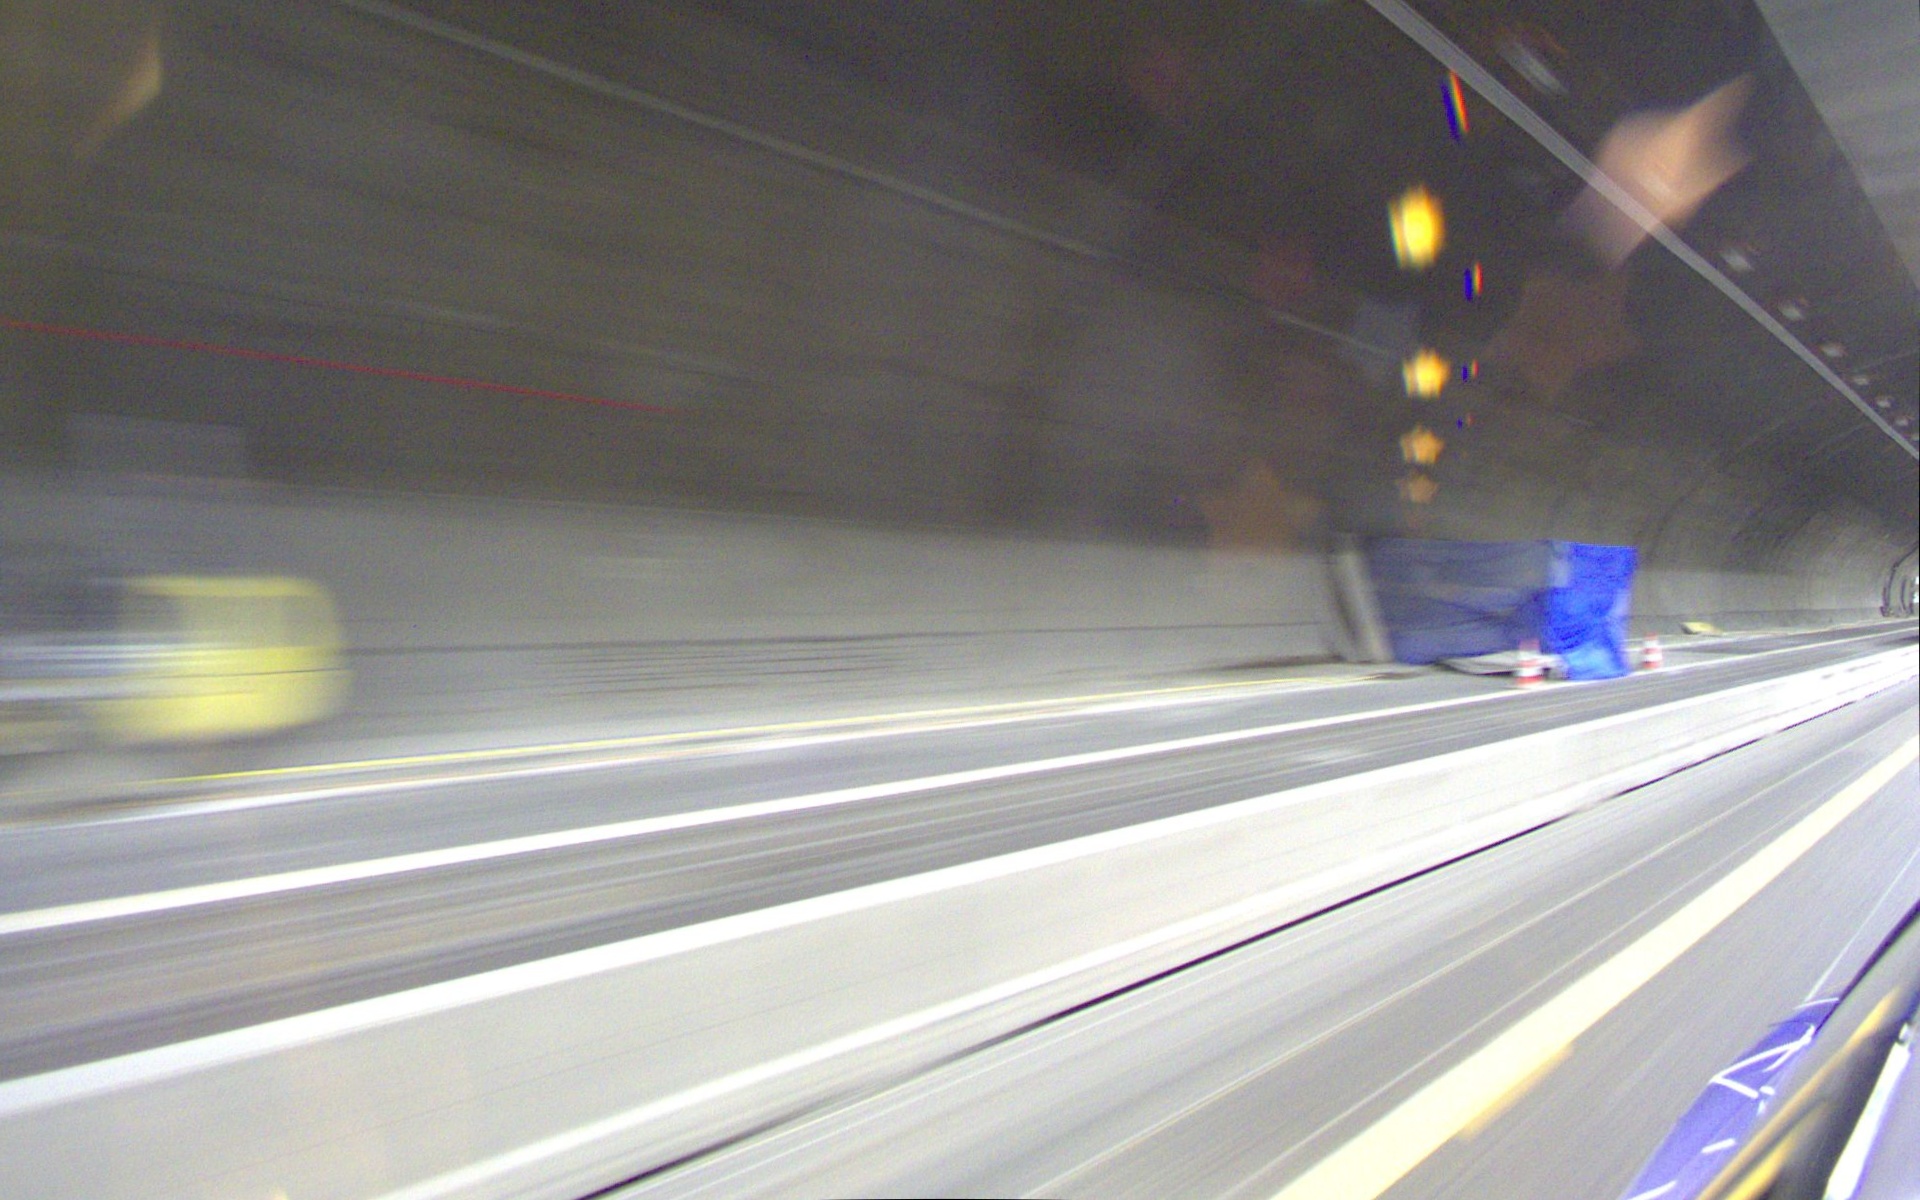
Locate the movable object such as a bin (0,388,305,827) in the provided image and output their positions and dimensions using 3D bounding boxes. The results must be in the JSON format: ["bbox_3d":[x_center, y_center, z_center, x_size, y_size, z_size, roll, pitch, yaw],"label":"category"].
[{"bbox_3d":[-6.240,-0.011,5.828,3.931,2.408,1.760,-1,4,-41],"label":"movable object such as a bin"}]
